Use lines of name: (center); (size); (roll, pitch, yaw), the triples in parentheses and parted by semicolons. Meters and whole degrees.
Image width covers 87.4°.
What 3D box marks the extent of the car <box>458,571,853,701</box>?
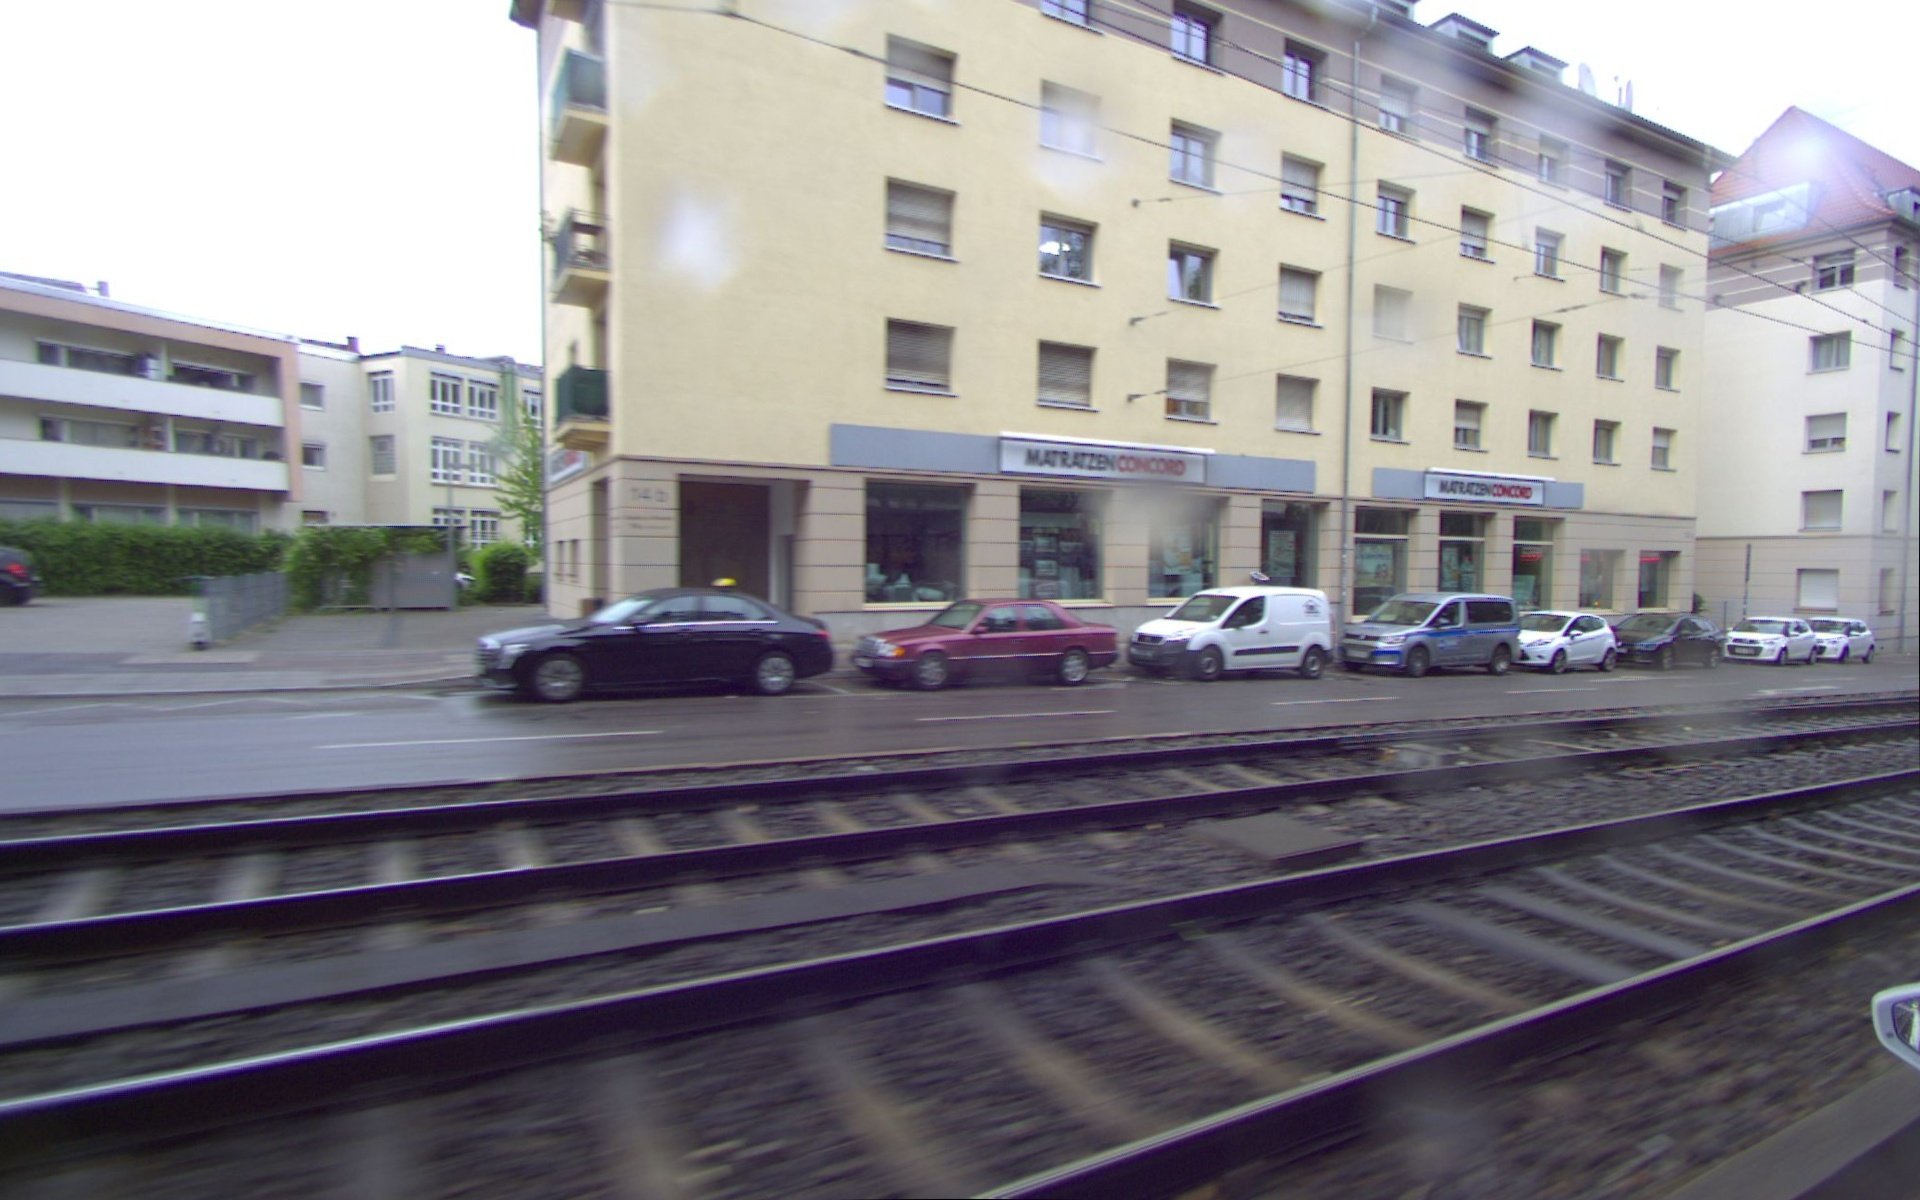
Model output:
car: (-4.118, 0.503, 14.040); (4.943, 1.528, 1.839); (3, -1, -36)

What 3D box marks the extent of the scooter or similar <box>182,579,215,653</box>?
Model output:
scooter or similar: (-12.329, 0.243, 16.277); (0.376, 1.127, 1.281); (1, 1, -36)

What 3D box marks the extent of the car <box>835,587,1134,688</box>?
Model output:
car: (0.469, 0.646, 17.010); (4.775, 1.451, 1.842); (3, 1, -30)

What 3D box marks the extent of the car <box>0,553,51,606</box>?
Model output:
car: (-26.575, -0.637, 26.341); (3.696, 1.359, 1.661); (3, 0, -28)

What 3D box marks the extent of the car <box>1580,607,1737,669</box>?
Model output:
car: (19.414, 1.052, 27.872); (4.529, 1.519, 1.804); (2, 1, -30)

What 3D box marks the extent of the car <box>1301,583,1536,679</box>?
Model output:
car: (10.470, 0.707, 22.825); (5.393, 1.930, 1.985); (2, 1, -29)

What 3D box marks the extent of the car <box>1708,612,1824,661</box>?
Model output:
car: (25.587, 1.168, 31.850); (3.893, 1.415, 1.694); (2, 1, -33)

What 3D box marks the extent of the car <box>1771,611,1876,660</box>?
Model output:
car: (29.383, 1.213, 34.165); (3.503, 1.469, 1.698); (2, 2, -32)

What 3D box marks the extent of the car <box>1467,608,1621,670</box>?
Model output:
car: (14.736, 0.982, 25.299); (4.004, 1.458, 1.682); (1, -3, -32)

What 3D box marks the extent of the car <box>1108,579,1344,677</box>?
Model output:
car: (5.279, 0.567, 19.827); (4.405, 1.739, 1.859); (3, 0, -29)
